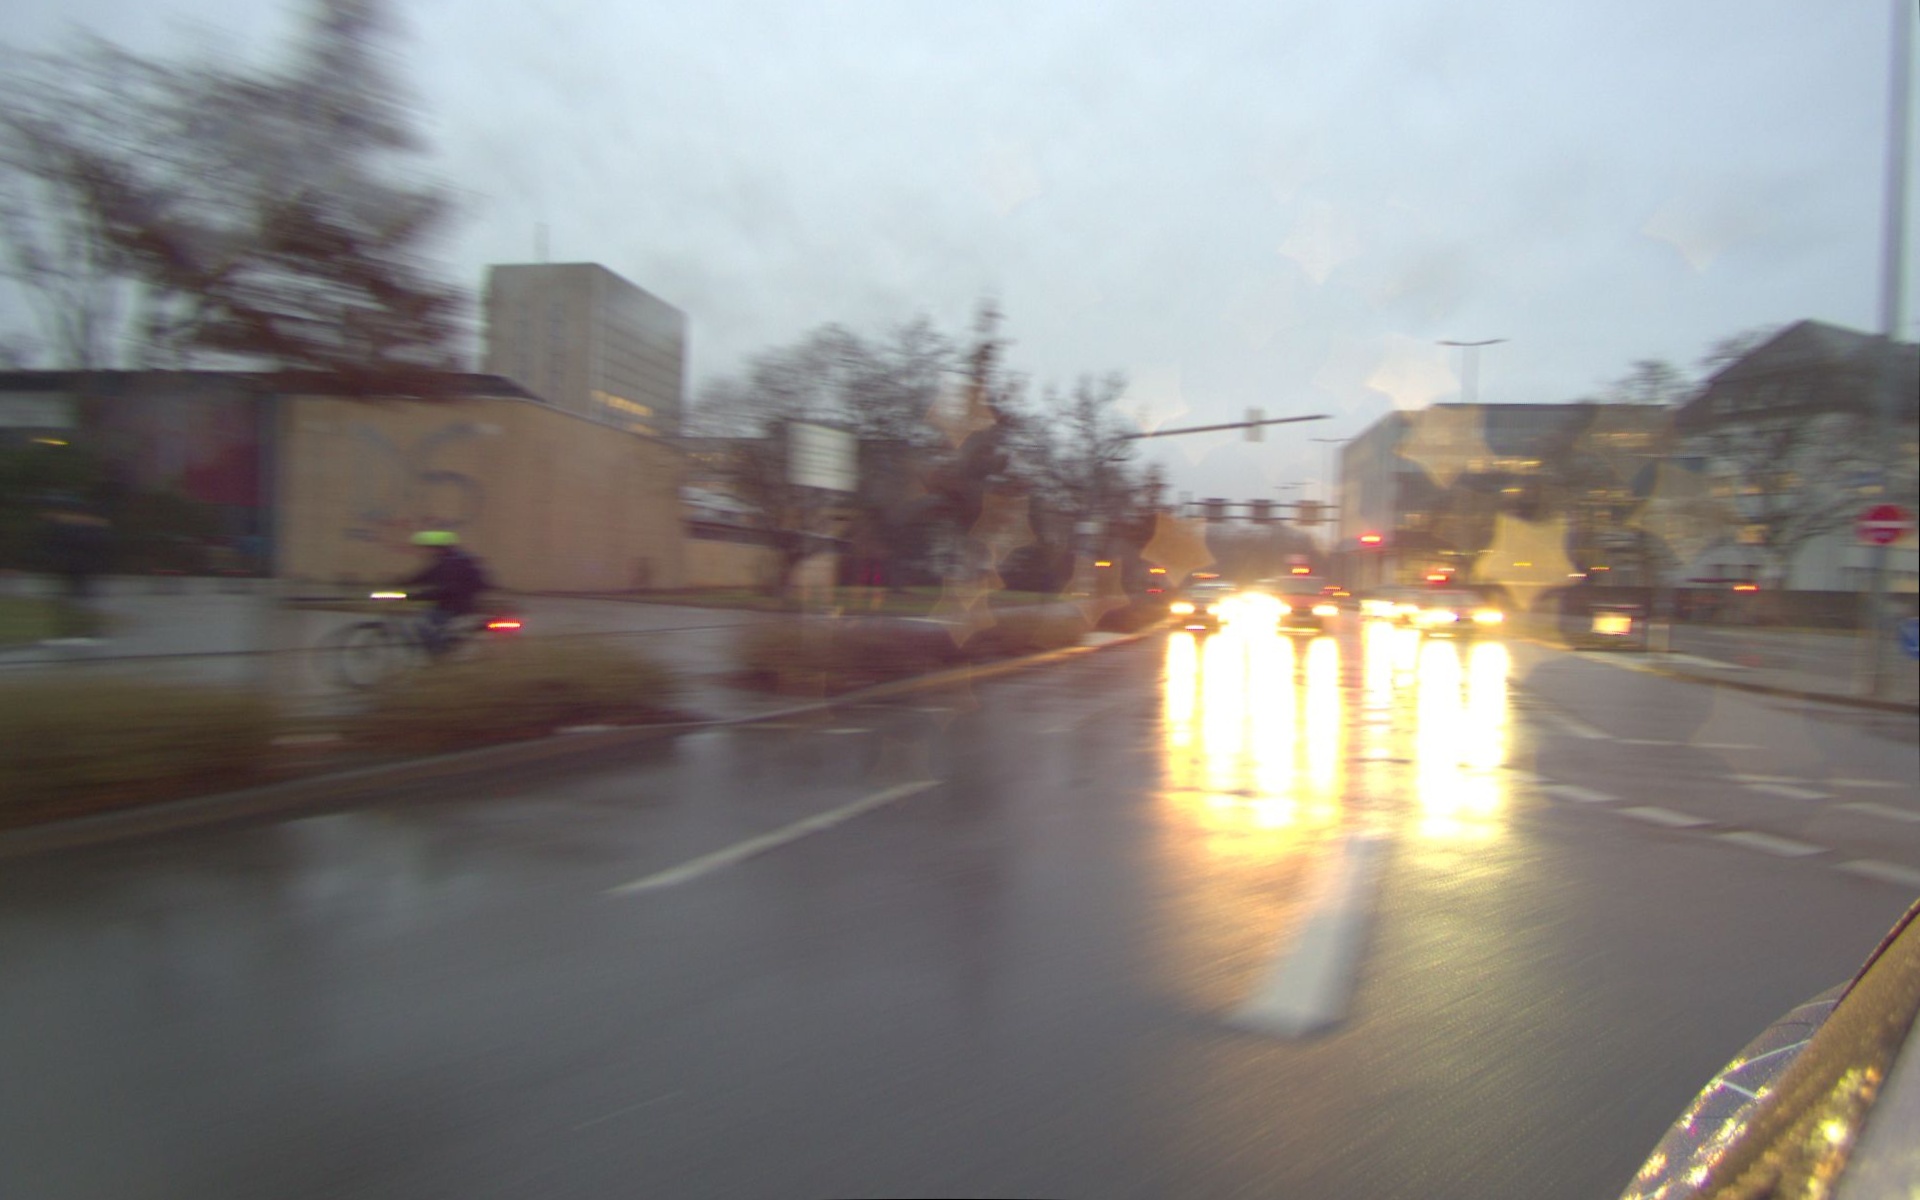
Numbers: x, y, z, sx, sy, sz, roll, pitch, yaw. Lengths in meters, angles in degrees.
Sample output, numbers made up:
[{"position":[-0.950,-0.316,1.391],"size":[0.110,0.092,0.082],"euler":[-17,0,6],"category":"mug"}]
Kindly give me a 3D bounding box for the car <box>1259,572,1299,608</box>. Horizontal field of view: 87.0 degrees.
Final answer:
[{"position":[18.551,-0.623,59.025],"size":[1.972,1.947,4.247],"euler":[3,2,15],"category":"car"}]

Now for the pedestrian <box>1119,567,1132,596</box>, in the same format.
[{"position":[12.248,-1.380,74.899],"size":[0.755,2.038,0.907],"euler":[3,2,14],"category":"pedestrian"}]

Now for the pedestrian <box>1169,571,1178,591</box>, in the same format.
[{"position":[20.119,-1.823,95.272],"size":[0.615,1.822,0.932],"euler":[3,1,18],"category":"pedestrian"}]

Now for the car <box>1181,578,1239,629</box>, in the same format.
[{"position":[8.683,0.054,34.964],"size":[1.750,1.504,4.450],"euler":[3,2,15],"category":"car"}]

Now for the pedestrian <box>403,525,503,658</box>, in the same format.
[{"position":[-5.375,-0.103,10.714],"size":[0.832,1.333,0.878],"euler":[1,2,-33],"category":"pedestrian"}]

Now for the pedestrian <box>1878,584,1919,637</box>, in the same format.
[{"position":[34.461,0.383,37.044],"size":[0.796,1.853,0.944],"euler":[3,2,12],"category":"pedestrian"}]

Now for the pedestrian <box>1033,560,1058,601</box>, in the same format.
[{"position":[3.906,-0.900,46.407],"size":[0.920,1.848,0.830],"euler":[3,2,16],"category":"pedestrian"}]

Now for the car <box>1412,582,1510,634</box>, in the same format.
[{"position":[15.926,0.203,32.423],"size":[1.905,1.393,4.478],"euler":[3,2,15],"category":"car"}]

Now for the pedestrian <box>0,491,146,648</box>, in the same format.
[{"position":[-10.394,-0.357,11.891],"size":[0.893,1.708,0.930],"euler":[4,0,-13],"category":"pedestrian"}]

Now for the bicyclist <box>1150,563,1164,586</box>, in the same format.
[{"position":[13.811,-1.797,70.938],"size":[0.757,1.507,0.990],"euler":[3,2,16],"category":"bicyclist"}]

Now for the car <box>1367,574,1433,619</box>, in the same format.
[{"position":[19.912,-0.218,46.012],"size":[1.973,1.770,4.450],"euler":[6,3,15],"category":"car"}]

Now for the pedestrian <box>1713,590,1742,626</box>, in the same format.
[{"position":[41.346,0.426,54.524],"size":[0.796,1.853,0.944],"euler":[3,2,12],"category":"pedestrian"}]

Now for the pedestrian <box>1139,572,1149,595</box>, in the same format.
[{"position":[16.538,-1.480,90.879],"size":[0.755,2.038,0.770],"euler":[3,2,14],"category":"pedestrian"}]

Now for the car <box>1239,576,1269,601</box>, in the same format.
[{"position":[21.882,-0.910,75.380],"size":[1.972,1.720,4.506],"euler":[3,2,15],"category":"car"}]

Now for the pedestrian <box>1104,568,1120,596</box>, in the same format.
[{"position":[10.383,-1.212,69.117],"size":[0.920,1.848,0.830],"euler":[3,2,16],"category":"pedestrian"}]

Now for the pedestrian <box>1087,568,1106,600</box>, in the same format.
[{"position":[8.154,-0.964,60.321],"size":[0.920,1.848,0.830],"euler":[3,2,16],"category":"pedestrian"}]

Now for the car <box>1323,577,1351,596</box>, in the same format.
[{"position":[35.433,-1.264,95.238],"size":[1.973,1.586,4.447],"euler":[5,2,16],"category":"car"}]

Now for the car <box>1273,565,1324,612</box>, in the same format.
[{"position":[15.249,-0.558,45.731],"size":[1.973,1.927,3.980],"euler":[3,2,16],"category":"car"}]

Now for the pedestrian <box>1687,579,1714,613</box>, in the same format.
[{"position":[41.315,-0.221,56.469],"size":[0.796,1.853,0.944],"euler":[3,2,12],"category":"pedestrian"}]

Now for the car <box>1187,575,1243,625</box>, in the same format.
[{"position":[10.591,-0.057,41.809],"size":[1.973,1.860,3.979],"euler":[3,2,17],"category":"car"}]

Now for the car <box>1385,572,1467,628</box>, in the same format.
[{"position":[18.396,-0.077,40.196],"size":[1.974,1.769,4.450],"euler":[10,4,15],"category":"car"}]

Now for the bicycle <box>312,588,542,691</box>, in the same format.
[{"position":[-5.509,0.392,10.531],"size":[2.054,0.958,0.564],"euler":[1,2,-33],"category":"bicycle"}]

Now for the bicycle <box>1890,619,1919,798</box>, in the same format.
[{"position":[7.644,0.772,6.994],"size":[1.864,1.238,0.796],"euler":[1,1,-10],"category":"bicycle"}]

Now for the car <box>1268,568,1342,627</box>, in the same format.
[{"position":[11.701,-0.154,34.604],"size":[1.972,1.771,4.923],"euler":[3,2,15],"category":"car"}]

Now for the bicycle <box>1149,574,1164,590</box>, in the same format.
[{"position":[13.793,-1.257,70.898],"size":[0.783,1.028,2.890],"euler":[3,3,16],"category":"bicycle"}]

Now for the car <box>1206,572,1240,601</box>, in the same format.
[{"position":[17.012,-0.886,65.439],"size":[1.972,1.687,3.982],"euler":[3,2,15],"category":"car"}]

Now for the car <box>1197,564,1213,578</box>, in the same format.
[{"position":[35.002,-4.090,144.429],"size":[2.112,1.838,3.983],"euler":[3,2,15],"category":"car"}]
